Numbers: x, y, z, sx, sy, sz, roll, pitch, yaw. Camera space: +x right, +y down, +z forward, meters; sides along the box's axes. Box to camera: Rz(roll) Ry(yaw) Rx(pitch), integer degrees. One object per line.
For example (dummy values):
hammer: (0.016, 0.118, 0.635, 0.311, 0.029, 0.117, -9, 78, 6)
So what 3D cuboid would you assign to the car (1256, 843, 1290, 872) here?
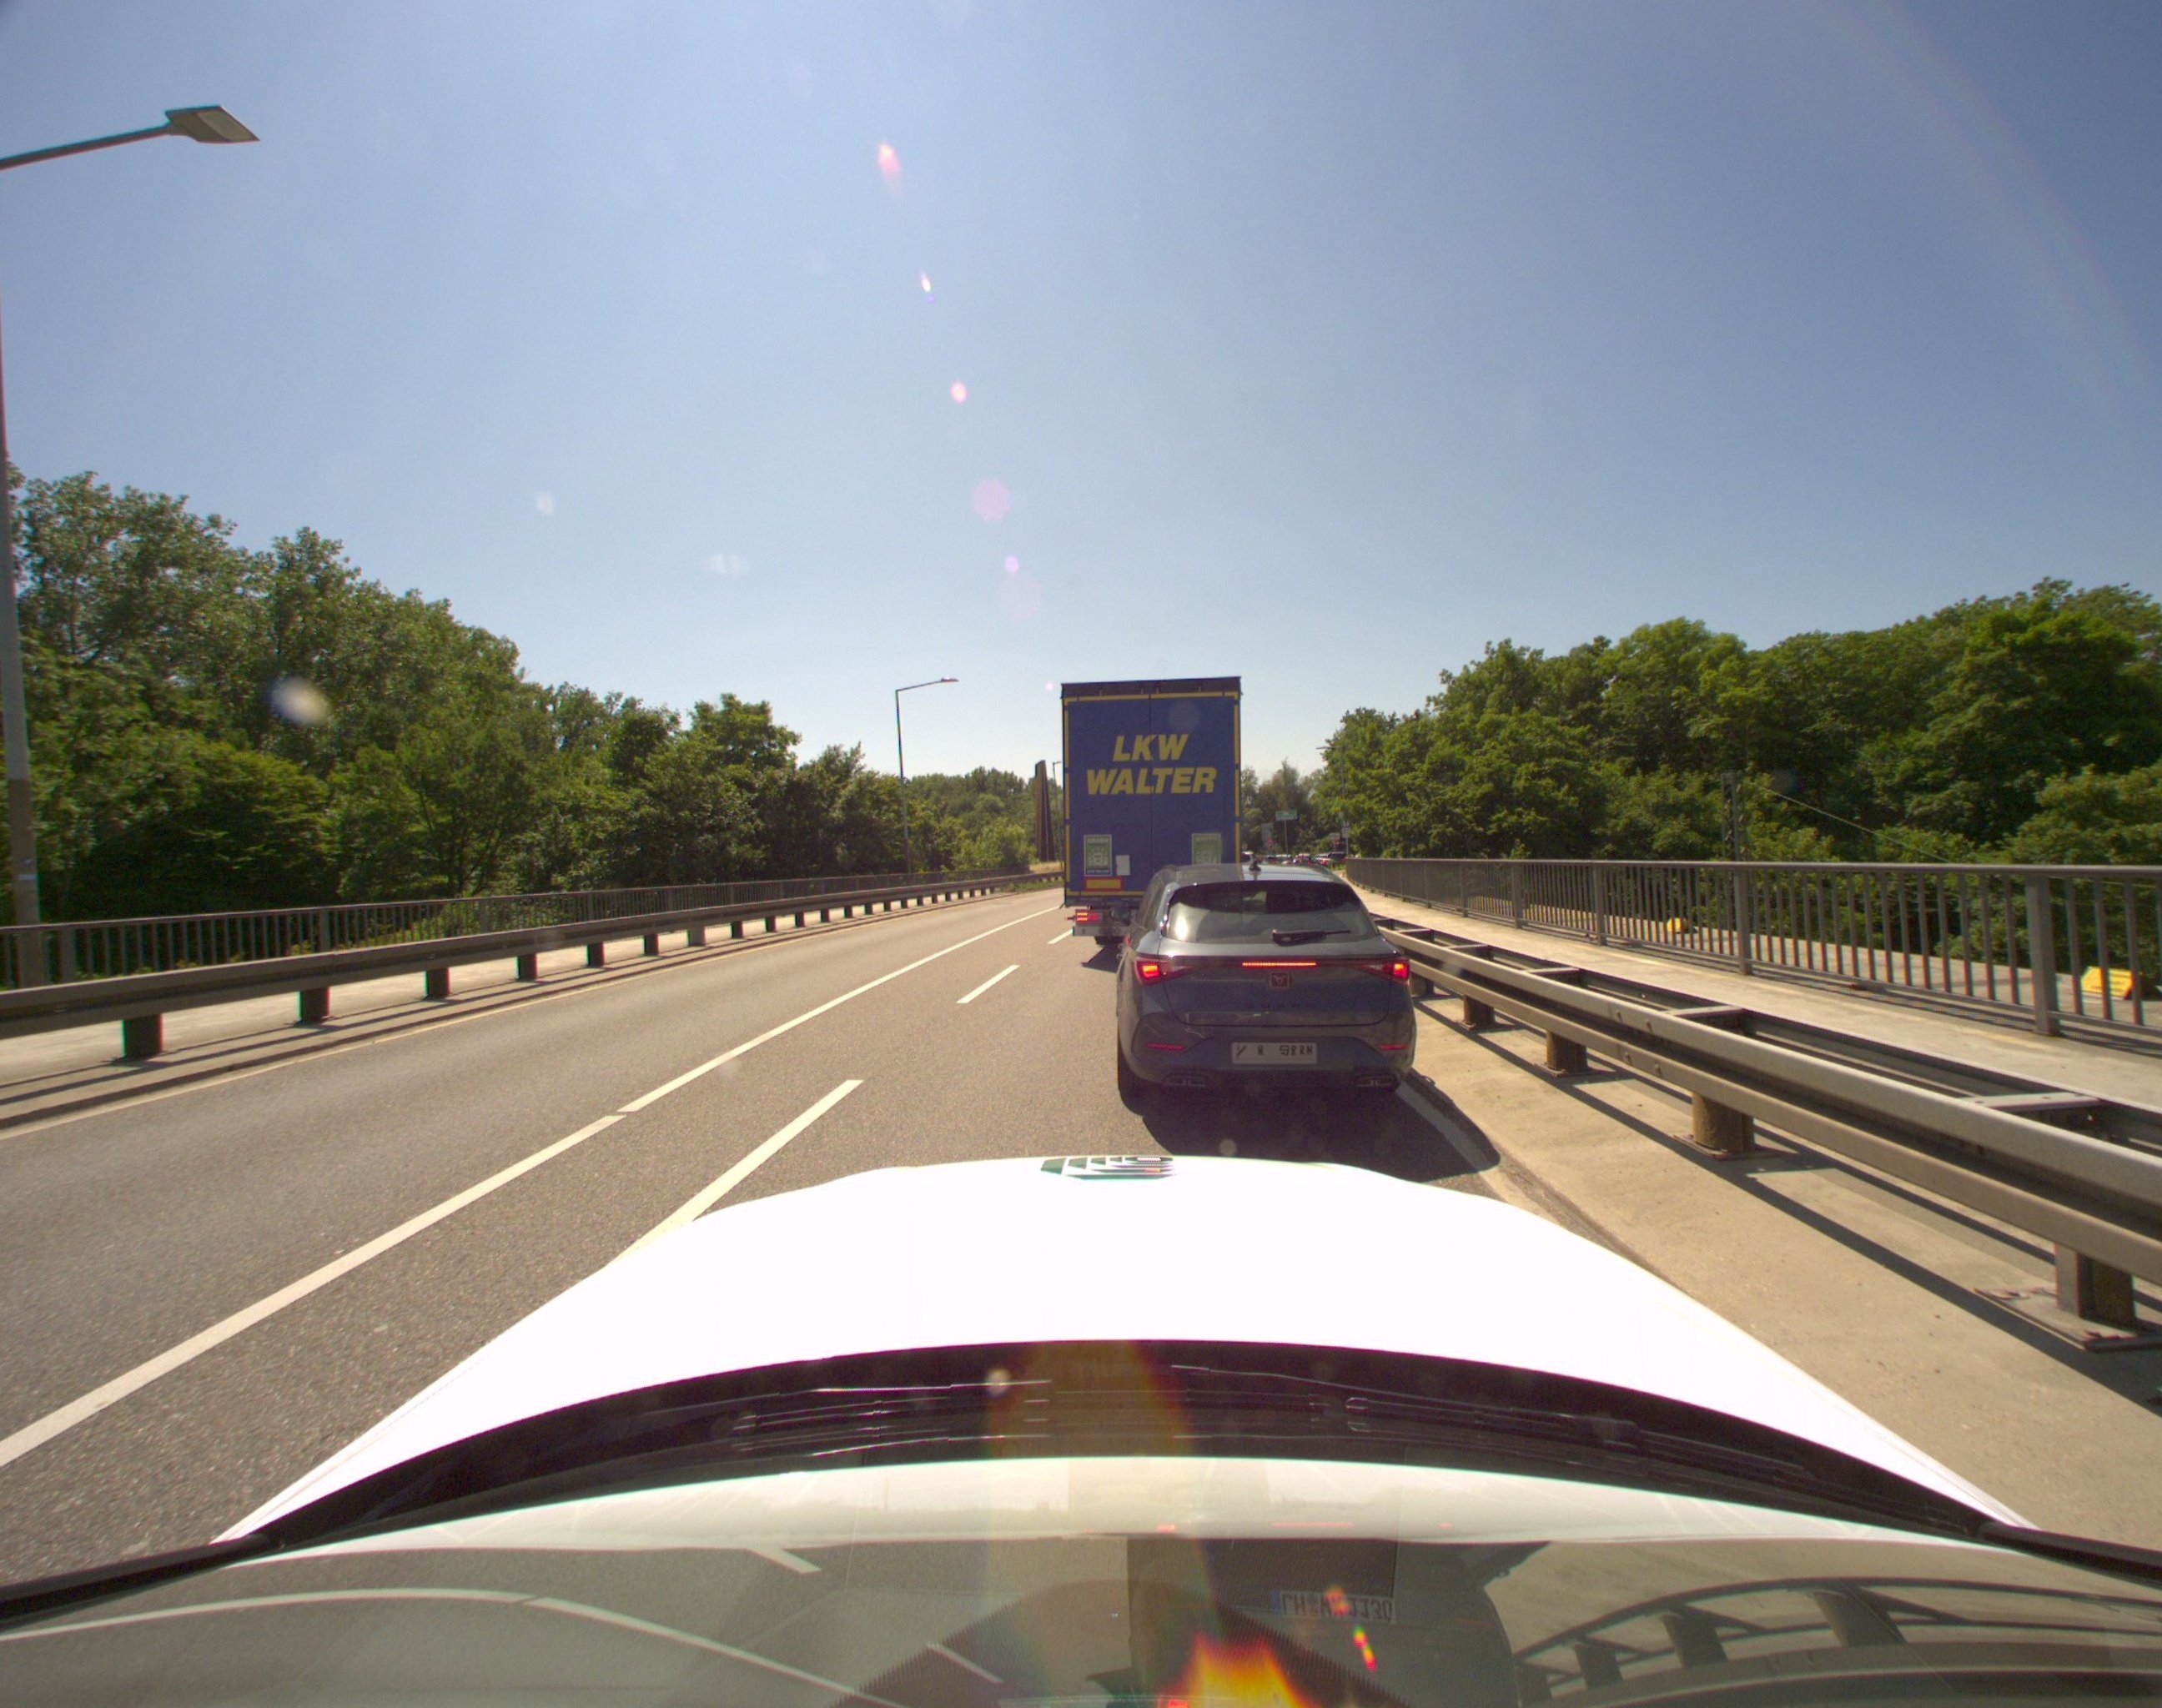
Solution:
car: (13.058, 0.235, 55.193, 1.706, 1.844, 4.021, -1, 0, 21)

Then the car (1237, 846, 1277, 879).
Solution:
car: (10.262, 0.477, 47.212, 1.706, 1.802, 4.020, -1, 0, 20)

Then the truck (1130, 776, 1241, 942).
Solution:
truck: (3.342, 0.140, 25.105, 2.887, 4.418, 6.573, -1, 0, 10)

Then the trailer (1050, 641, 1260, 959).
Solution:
trailer: (2.057, -0.746, 17.657, 2.887, 4.418, 12.466, -1, 0, 10)

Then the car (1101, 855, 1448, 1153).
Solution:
car: (1.099, 0.756, 6.021, 1.669, 1.456, 3.963, -1, 0, 4)

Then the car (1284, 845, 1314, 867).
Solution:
car: (18.220, 0.198, 67.881, 1.670, 1.760, 4.023, -1, -1, 25)

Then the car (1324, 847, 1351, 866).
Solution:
car: (25.175, 0.271, 79.816, 1.669, 1.760, 4.025, -2, -1, 30)

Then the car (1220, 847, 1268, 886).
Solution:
car: (8.233, 0.596, 40.937, 1.706, 1.844, 4.020, -1, 0, 20)

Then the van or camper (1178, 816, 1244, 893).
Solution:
van or camper: (5.495, 0.018, 33.626, 2.139, 2.815, 6.411, -1, 0, 14)

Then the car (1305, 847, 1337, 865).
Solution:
car: (21.815, 0.198, 74.053, 1.975, 1.575, 4.024, 0, -1, 28)

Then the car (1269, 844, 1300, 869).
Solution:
car: (15.354, 0.166, 61.294, 1.706, 1.844, 4.021, -1, 0, 21)
